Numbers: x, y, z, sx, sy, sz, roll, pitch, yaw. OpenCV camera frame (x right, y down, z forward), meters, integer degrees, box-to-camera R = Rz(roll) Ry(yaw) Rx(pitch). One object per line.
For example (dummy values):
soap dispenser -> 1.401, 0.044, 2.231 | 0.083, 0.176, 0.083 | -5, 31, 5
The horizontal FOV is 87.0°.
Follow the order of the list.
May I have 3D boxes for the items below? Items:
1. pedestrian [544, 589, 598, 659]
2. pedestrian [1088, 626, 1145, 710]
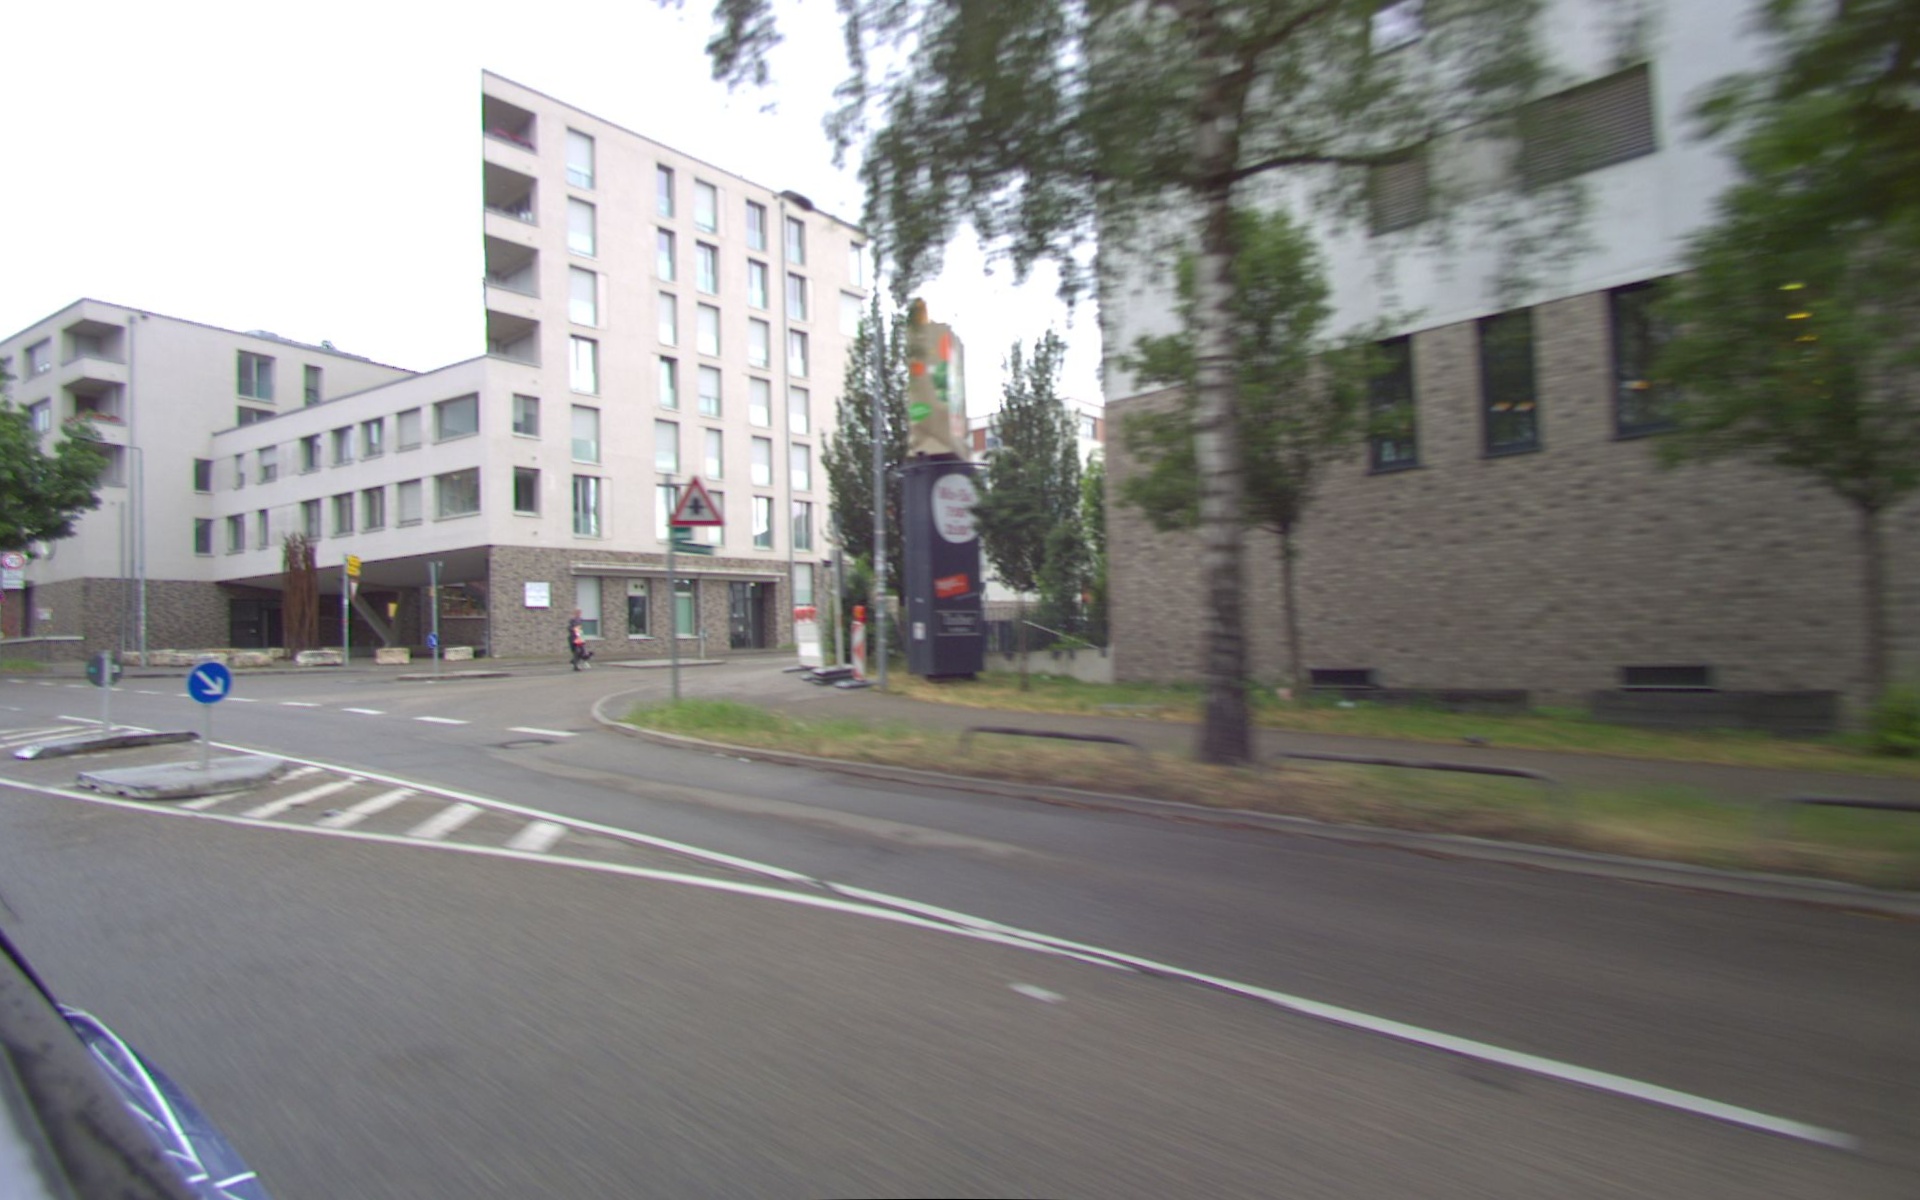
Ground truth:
pedestrian -> -11.418, 0.692, 29.721 | 1.088, 2.029, 1.054 | 0, 0, 13
pedestrian -> 3.945, 1.686, 25.534 | 1.114, 2.029, 0.875 | -2, 0, 34
